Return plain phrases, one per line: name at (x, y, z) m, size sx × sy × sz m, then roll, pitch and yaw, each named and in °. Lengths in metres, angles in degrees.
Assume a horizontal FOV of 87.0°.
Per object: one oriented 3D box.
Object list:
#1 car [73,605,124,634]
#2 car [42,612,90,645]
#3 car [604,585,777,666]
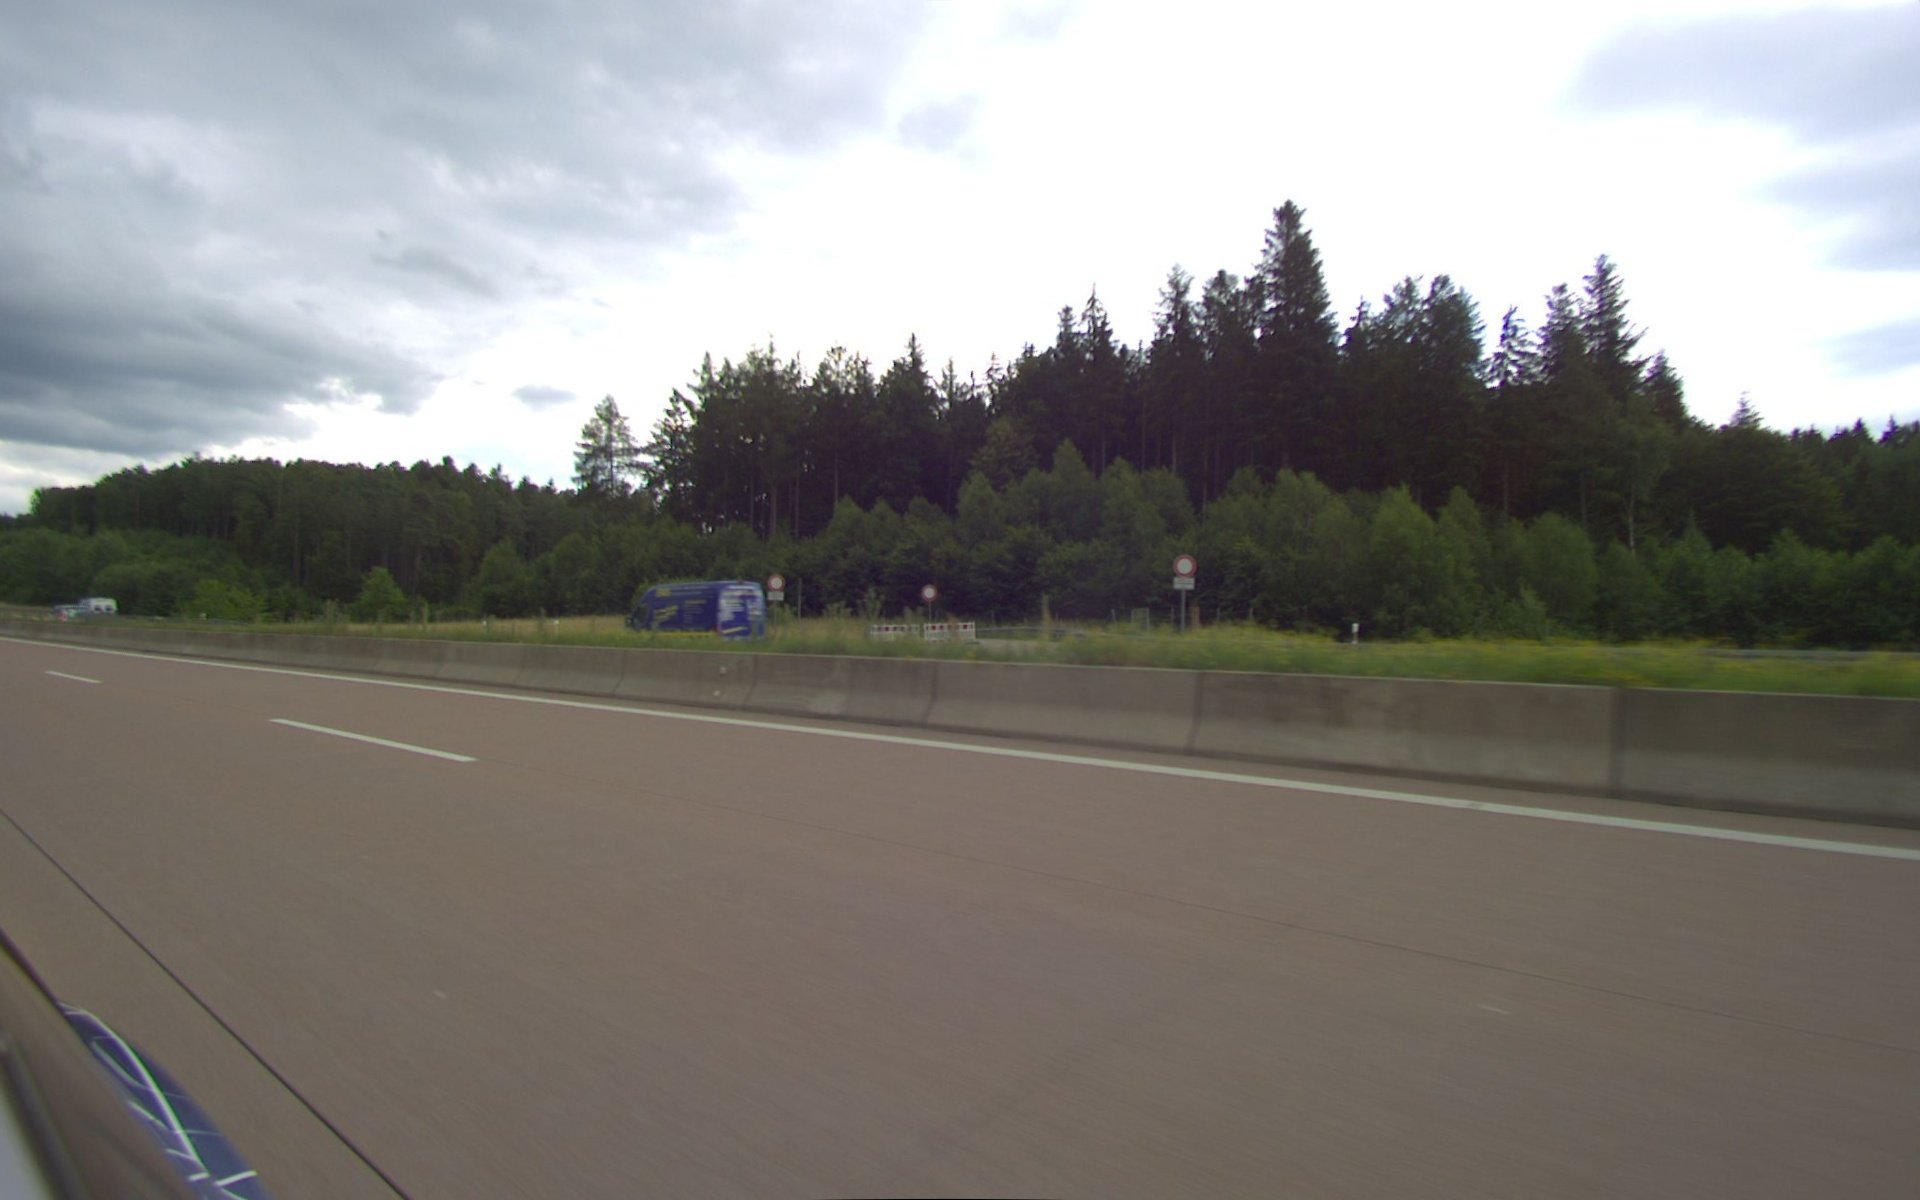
car at (-82.460, 1.836, 96.813) m, size 7.321 × 2.629 × 2.435 m, roll 0°, pitch 0°, yaw 39°
car at (-75.948, 2.340, 85.975) m, size 6.348 × 2.629 × 2.013 m, roll 0°, pitch 0°, yaw 39°
car at (-8.321, 0.763, 30.851) m, size 6.035 × 2.259 × 1.973 m, roll -2°, pitch -1°, yaw 40°
